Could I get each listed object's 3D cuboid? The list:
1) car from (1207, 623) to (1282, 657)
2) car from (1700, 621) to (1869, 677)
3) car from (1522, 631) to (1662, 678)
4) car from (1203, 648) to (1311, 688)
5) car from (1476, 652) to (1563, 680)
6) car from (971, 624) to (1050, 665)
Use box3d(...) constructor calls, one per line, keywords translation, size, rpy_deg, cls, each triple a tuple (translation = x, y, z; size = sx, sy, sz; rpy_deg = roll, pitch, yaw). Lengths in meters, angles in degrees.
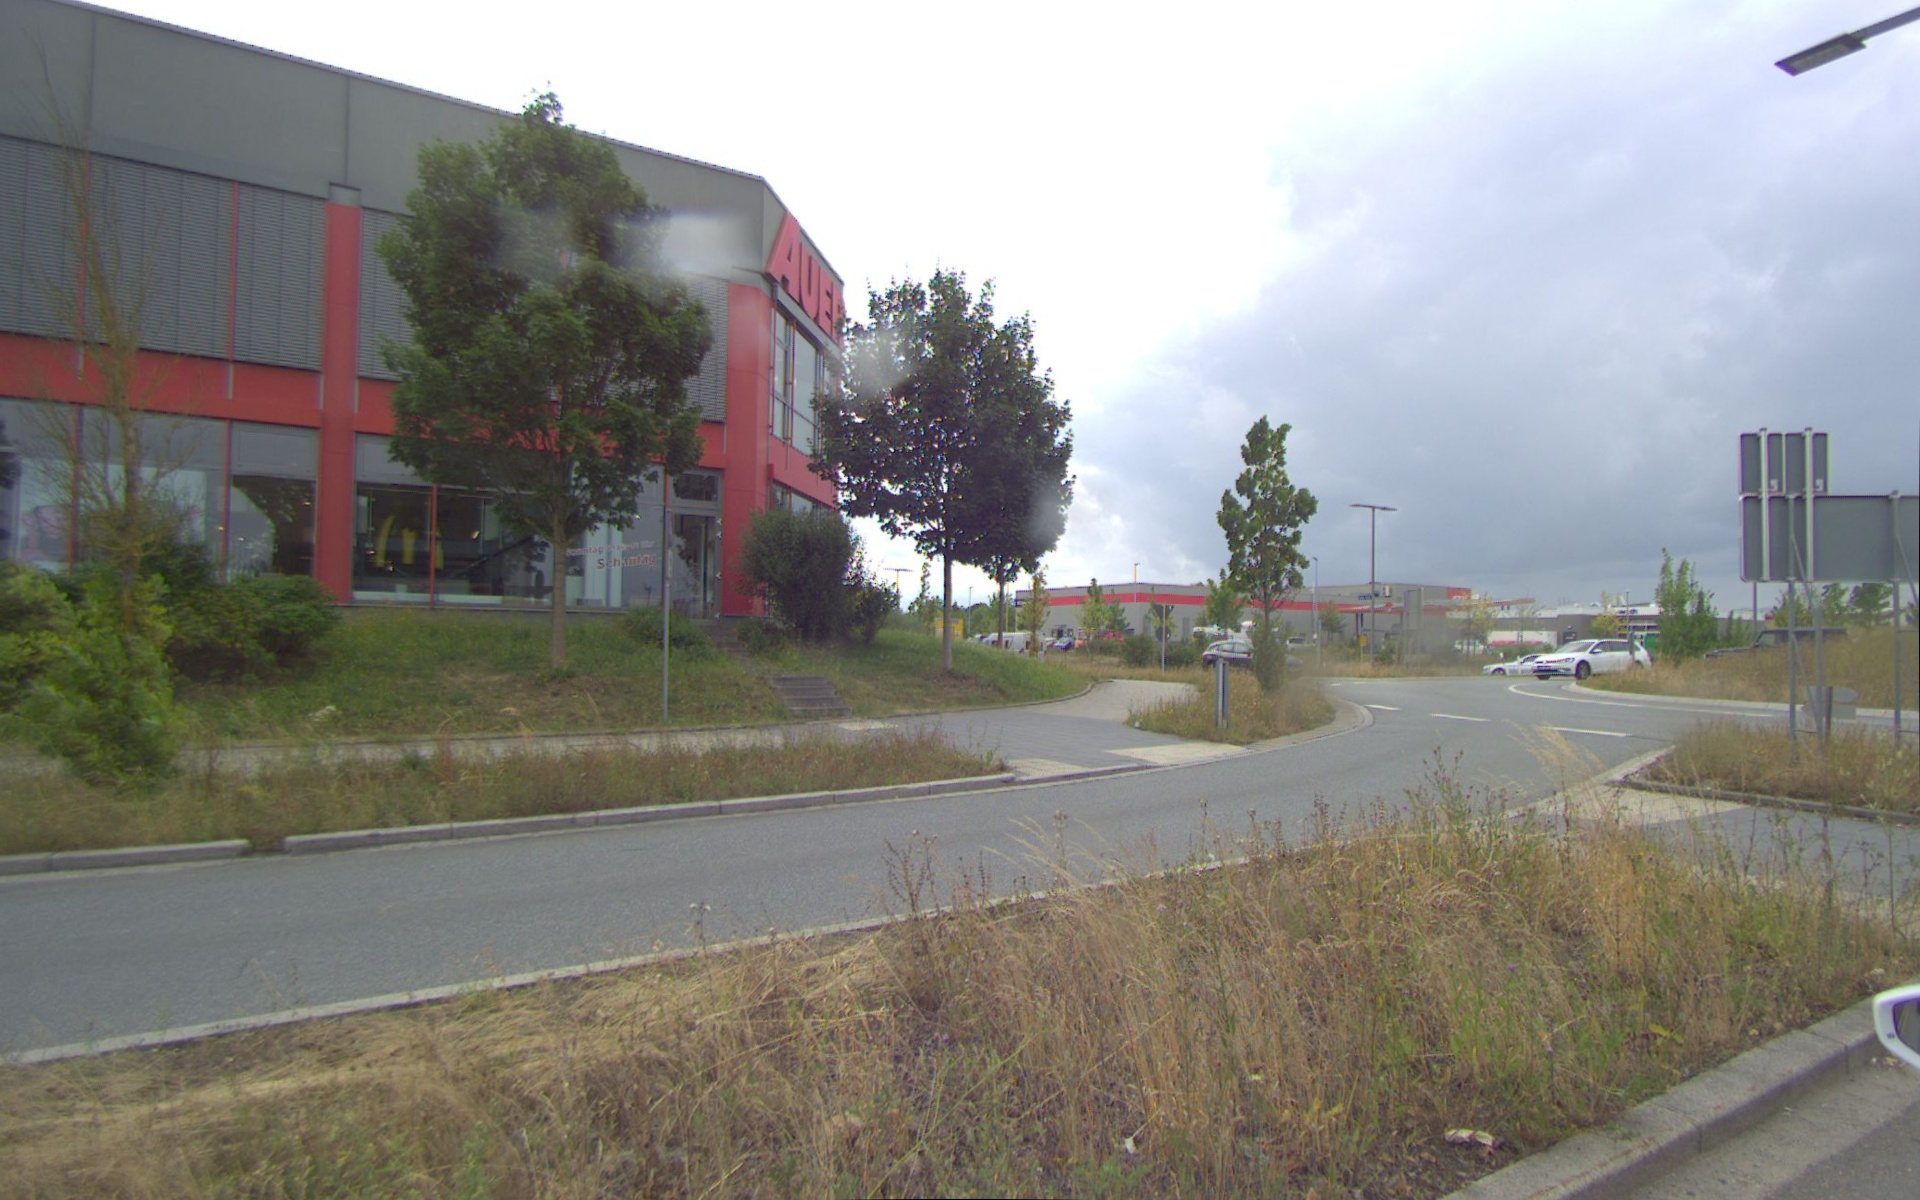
box3d(translation=(27.255, 3.834, 96.213), size=(7.609, 2.857, 2.448), rpy_deg=(4, -1, -33), cls="car")
box3d(translation=(30.243, 1.786, 37.036), size=(4.562, 1.776, 1.724), rpy_deg=(2, -1, 32), cls="car")
box3d(translation=(22.940, 1.976, 36.499), size=(4.569, 1.427, 1.722), rpy_deg=(3, -1, -17), cls="car")
box3d(translation=(11.130, 2.535, 37.832), size=(1.662, 1.267, 3.555), rpy_deg=(4, -2, -39), cls="car")
box3d(translation=(28.163, 3.317, 50.670), size=(3.675, 1.318, 1.499), rpy_deg=(0, -3, 24), cls="car")
box3d(translation=(3.281, 2.933, 66.797), size=(2.257, 2.418, 5.659), rpy_deg=(4, -1, -33), cls="car")
